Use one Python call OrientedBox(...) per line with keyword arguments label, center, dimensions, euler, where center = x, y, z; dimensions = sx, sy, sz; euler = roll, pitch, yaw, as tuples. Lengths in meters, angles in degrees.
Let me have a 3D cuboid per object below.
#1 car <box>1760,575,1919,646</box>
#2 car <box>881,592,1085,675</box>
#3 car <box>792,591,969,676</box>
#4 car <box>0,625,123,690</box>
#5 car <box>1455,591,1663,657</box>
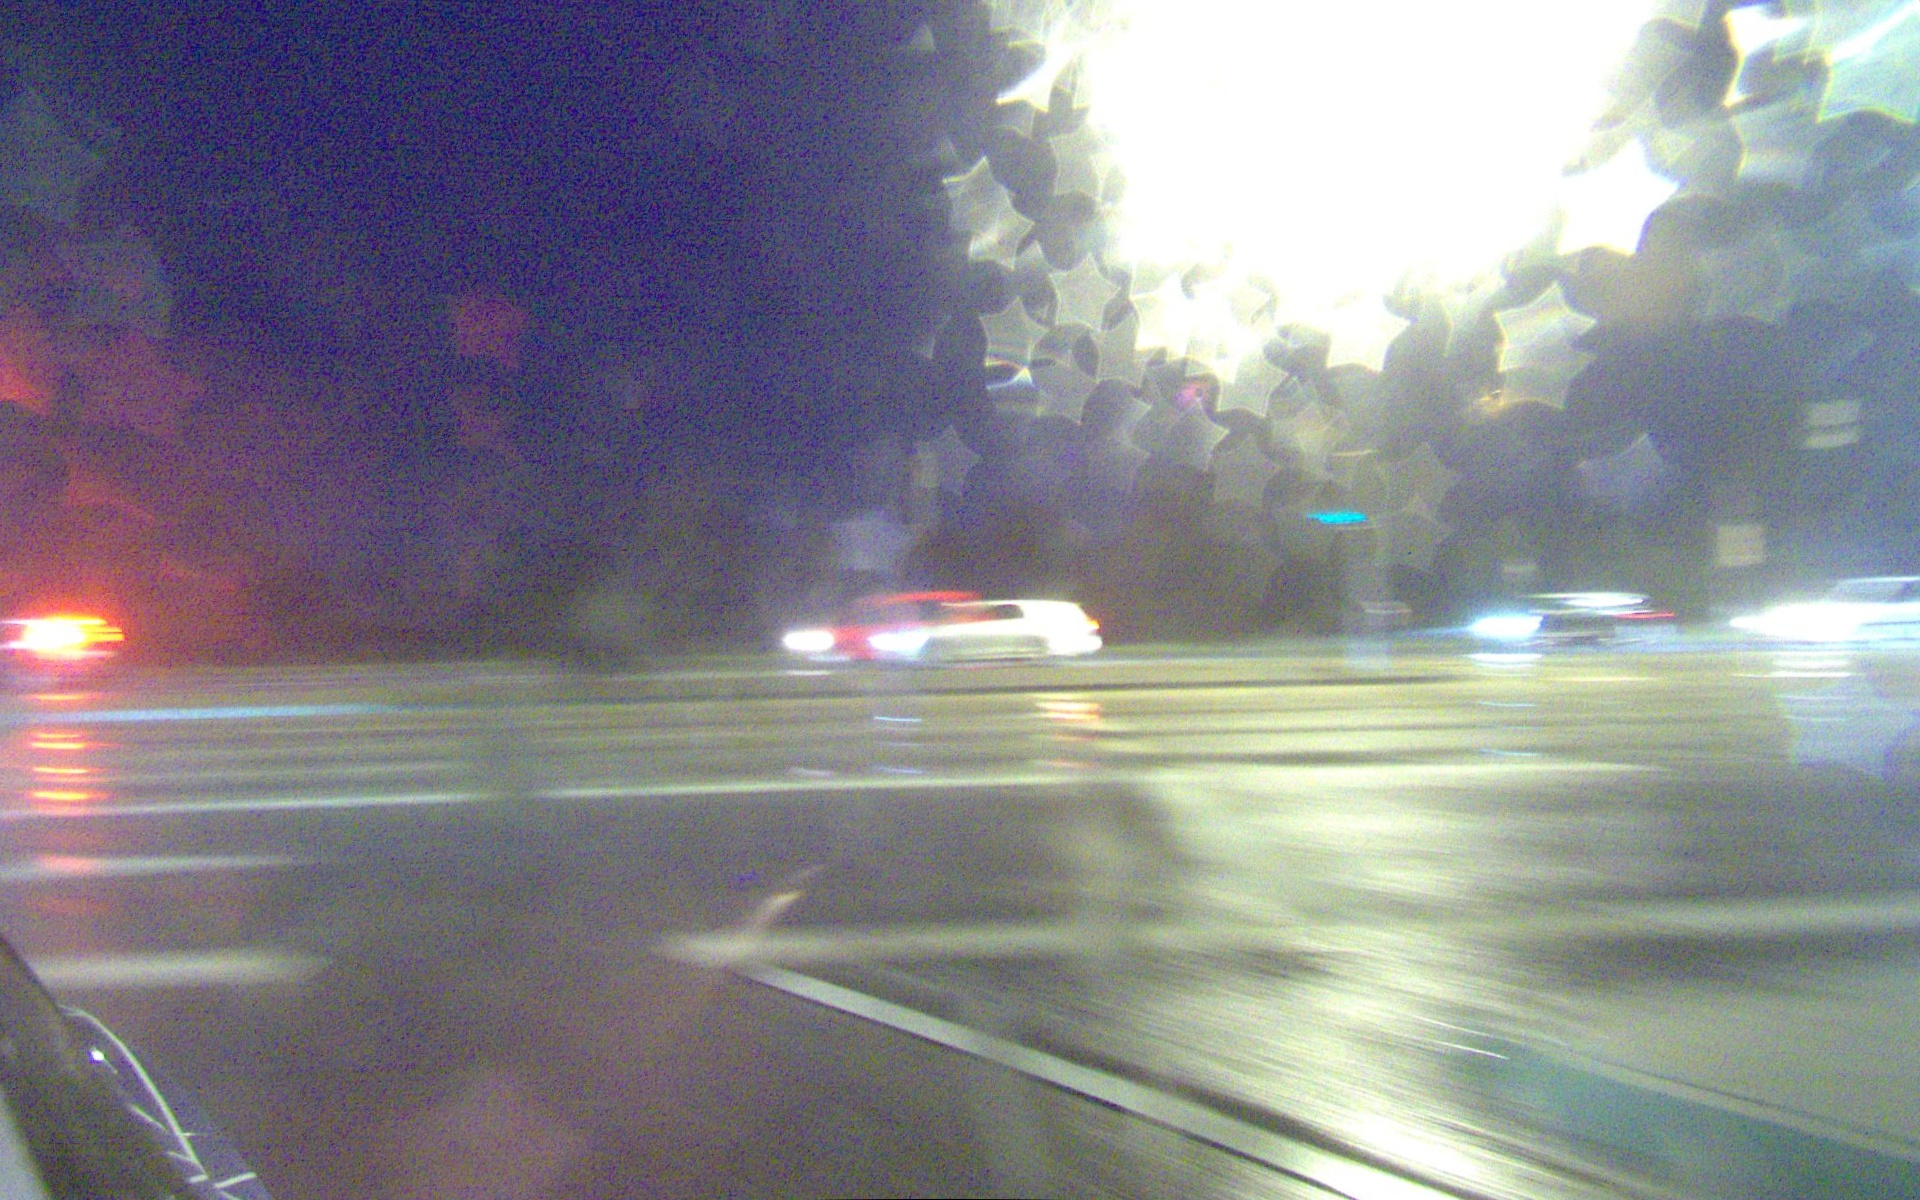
OrientedBox(label="car", center=(20.471, 0.201, 22.660), dimensions=(3.763, 1.459, 1.671), euler=(-2, -1, -2))
OrientedBox(label="car", center=(0.454, 0.689, 21.757), dimensions=(4.183, 1.620, 1.788), euler=(-1, -1, -1))
OrientedBox(label="car", center=(-1.920, 0.801, 24.911), dimensions=(4.144, 1.907, 1.769), euler=(-2, -1, -2))
OrientedBox(label="car", center=(-19.668, 1.194, 20.737), dimensions=(3.559, 1.212, 1.651), euler=(-2, -1, -6))
OrientedBox(label="car", center=(14.886, 0.580, 25.293), dimensions=(4.036, 1.467, 1.855), euler=(-2, -1, -2))
